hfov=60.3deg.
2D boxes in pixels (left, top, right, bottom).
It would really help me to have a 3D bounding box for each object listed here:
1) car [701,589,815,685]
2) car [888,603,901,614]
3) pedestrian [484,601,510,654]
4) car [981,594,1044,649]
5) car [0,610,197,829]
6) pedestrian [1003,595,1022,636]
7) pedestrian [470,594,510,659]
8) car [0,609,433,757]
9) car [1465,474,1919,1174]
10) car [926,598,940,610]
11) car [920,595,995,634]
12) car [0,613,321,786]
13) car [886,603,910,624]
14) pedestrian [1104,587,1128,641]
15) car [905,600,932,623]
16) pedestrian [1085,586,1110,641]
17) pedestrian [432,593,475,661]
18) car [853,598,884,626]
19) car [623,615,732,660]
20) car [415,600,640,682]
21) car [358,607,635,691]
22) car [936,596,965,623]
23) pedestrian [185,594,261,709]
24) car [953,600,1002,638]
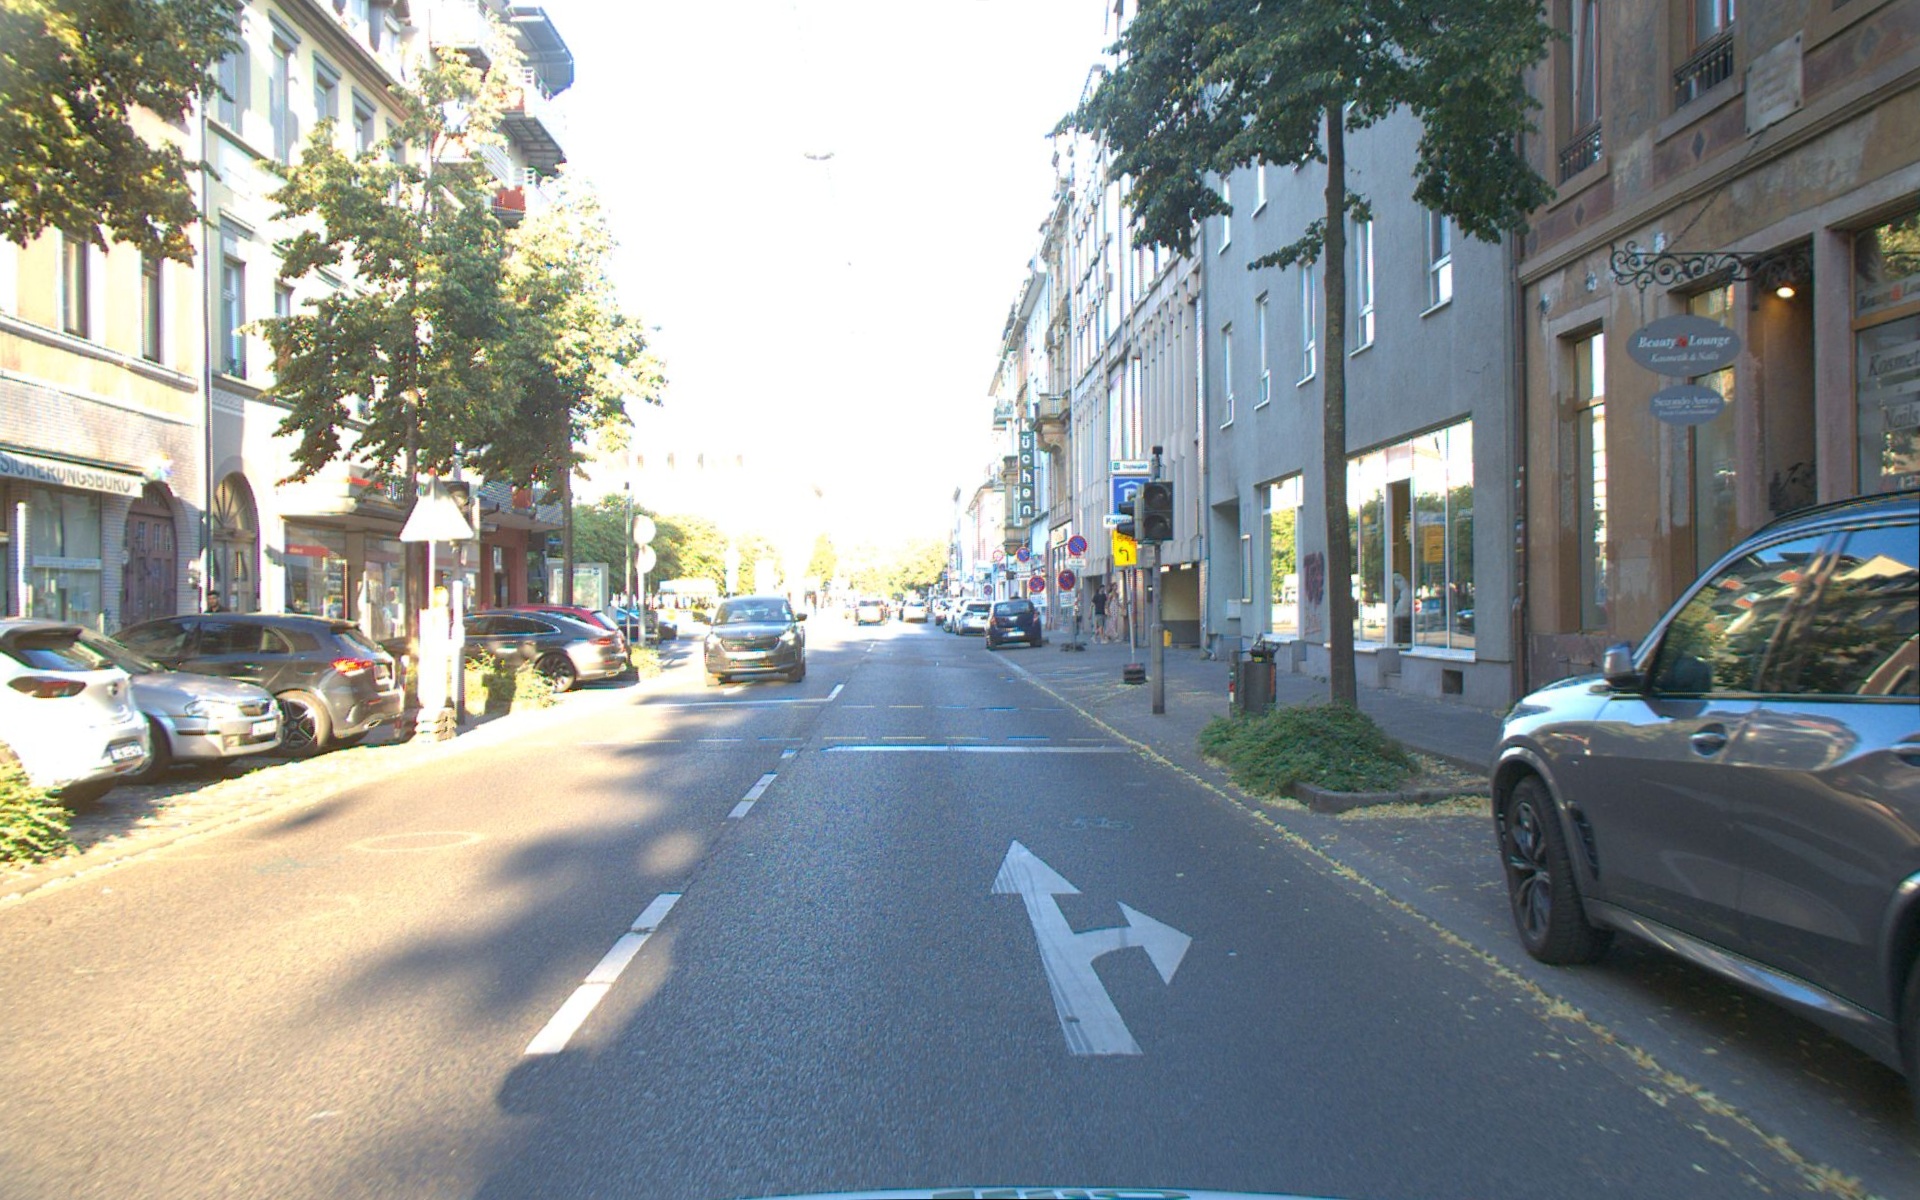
[{"bbox_3d":[-3.878,0.675,32.424,1.824,1.722,4.458,-1,0,-2],"label":"car"},{"bbox_3d":[-8.982,1.176,227.521,1.744,1.574,3.998,0,0,-3],"label":"car"},{"bbox_3d":[-14.310,0.851,51.175,0.584,1.623,0.701,-1,-2,-1],"label":"pedestrian"},{"bbox_3d":[1.635,0.664,52.798,1.723,1.563,3.999,-4,0,-1],"label":"car"},{"bbox_3d":[-7.779,0.807,11.982,3.665,1.469,1.804,0,0,-5],"label":"car"},{"bbox_3d":[2.493,0.727,78.273,0.757,1.859,1.010,-2,0,-3],"label":"pedestrian"},{"bbox_3d":[-11.524,0.653,40.576,0.719,1.555,0.875,1,-2,-2],"label":"pedestrian"},{"bbox_3d":[-7.782,0.829,17.199,4.026,1.428,1.882,0,0,-5],"label":"car"},{"bbox_3d":[3.373,0.518,5.170,1.997,1.767,4.710,-3,0,-1],"label":"car"},{"bbox_3d":[-3.668,0.490,223.445,1.859,1.609,3.850,-1,0,-2],"label":"car"},{"bbox_3d":[-0.174,0.707,79.060,1.967,1.792,4.432,-1,0,-24],"label":"car"},{"bbox_3d":[-8.115,0.856,14.860,4.013,1.428,1.843,0,0,-1],"label":"car"},{"bbox_3d":[-4.998,1.065,132.668,1.859,1.609,3.850,2,0,-2],"label":"car"},{"bbox_3d":[4.743,0.425,50.216,0.593,1.627,0.773,0,0,-6],"label":"pedestrian"},{"bbox_3d":[-3.043,0.816,119.634,1.858,1.609,3.998,1,0,-2],"label":"car"},{"bbox_3d":[4.146,0.404,49.883,0.593,1.627,0.773,0,0,-6],"label":"pedestrian"},{"bbox_3d":[-12.319,0.669,40.259,0.756,1.636,0.875,1,-2,-2],"label":"pedestrian"},{"bbox_3d":[-5.725,0.759,103.960,1.858,1.678,4.102,0,0,-2],"label":"car"},{"bbox_3d":[-10.782,1.428,63.356,3.909,1.609,1.901,1,0,-5],"label":"car"},{"bbox_3d":[-8.517,0.798,32.843,3.990,1.563,1.883,0,0,-2],"label":"car"},{"bbox_3d":[-8.242,0.867,29.728,4.479,1.432,1.820,0,0,-4],"label":"car"},{"bbox_3d":[-0.645,0.616,105.281,1.695,1.679,4.282,1,0,-2],"label":"car"},{"bbox_3d":[-11.451,0.801,25.717,0.756,1.752,0.875,1,-2,-2],"label":"pedestrian"},{"bbox_3d":[0.710,0.812,71.280,1.724,1.563,4.817,1,-1,-4],"label":"car"}]
